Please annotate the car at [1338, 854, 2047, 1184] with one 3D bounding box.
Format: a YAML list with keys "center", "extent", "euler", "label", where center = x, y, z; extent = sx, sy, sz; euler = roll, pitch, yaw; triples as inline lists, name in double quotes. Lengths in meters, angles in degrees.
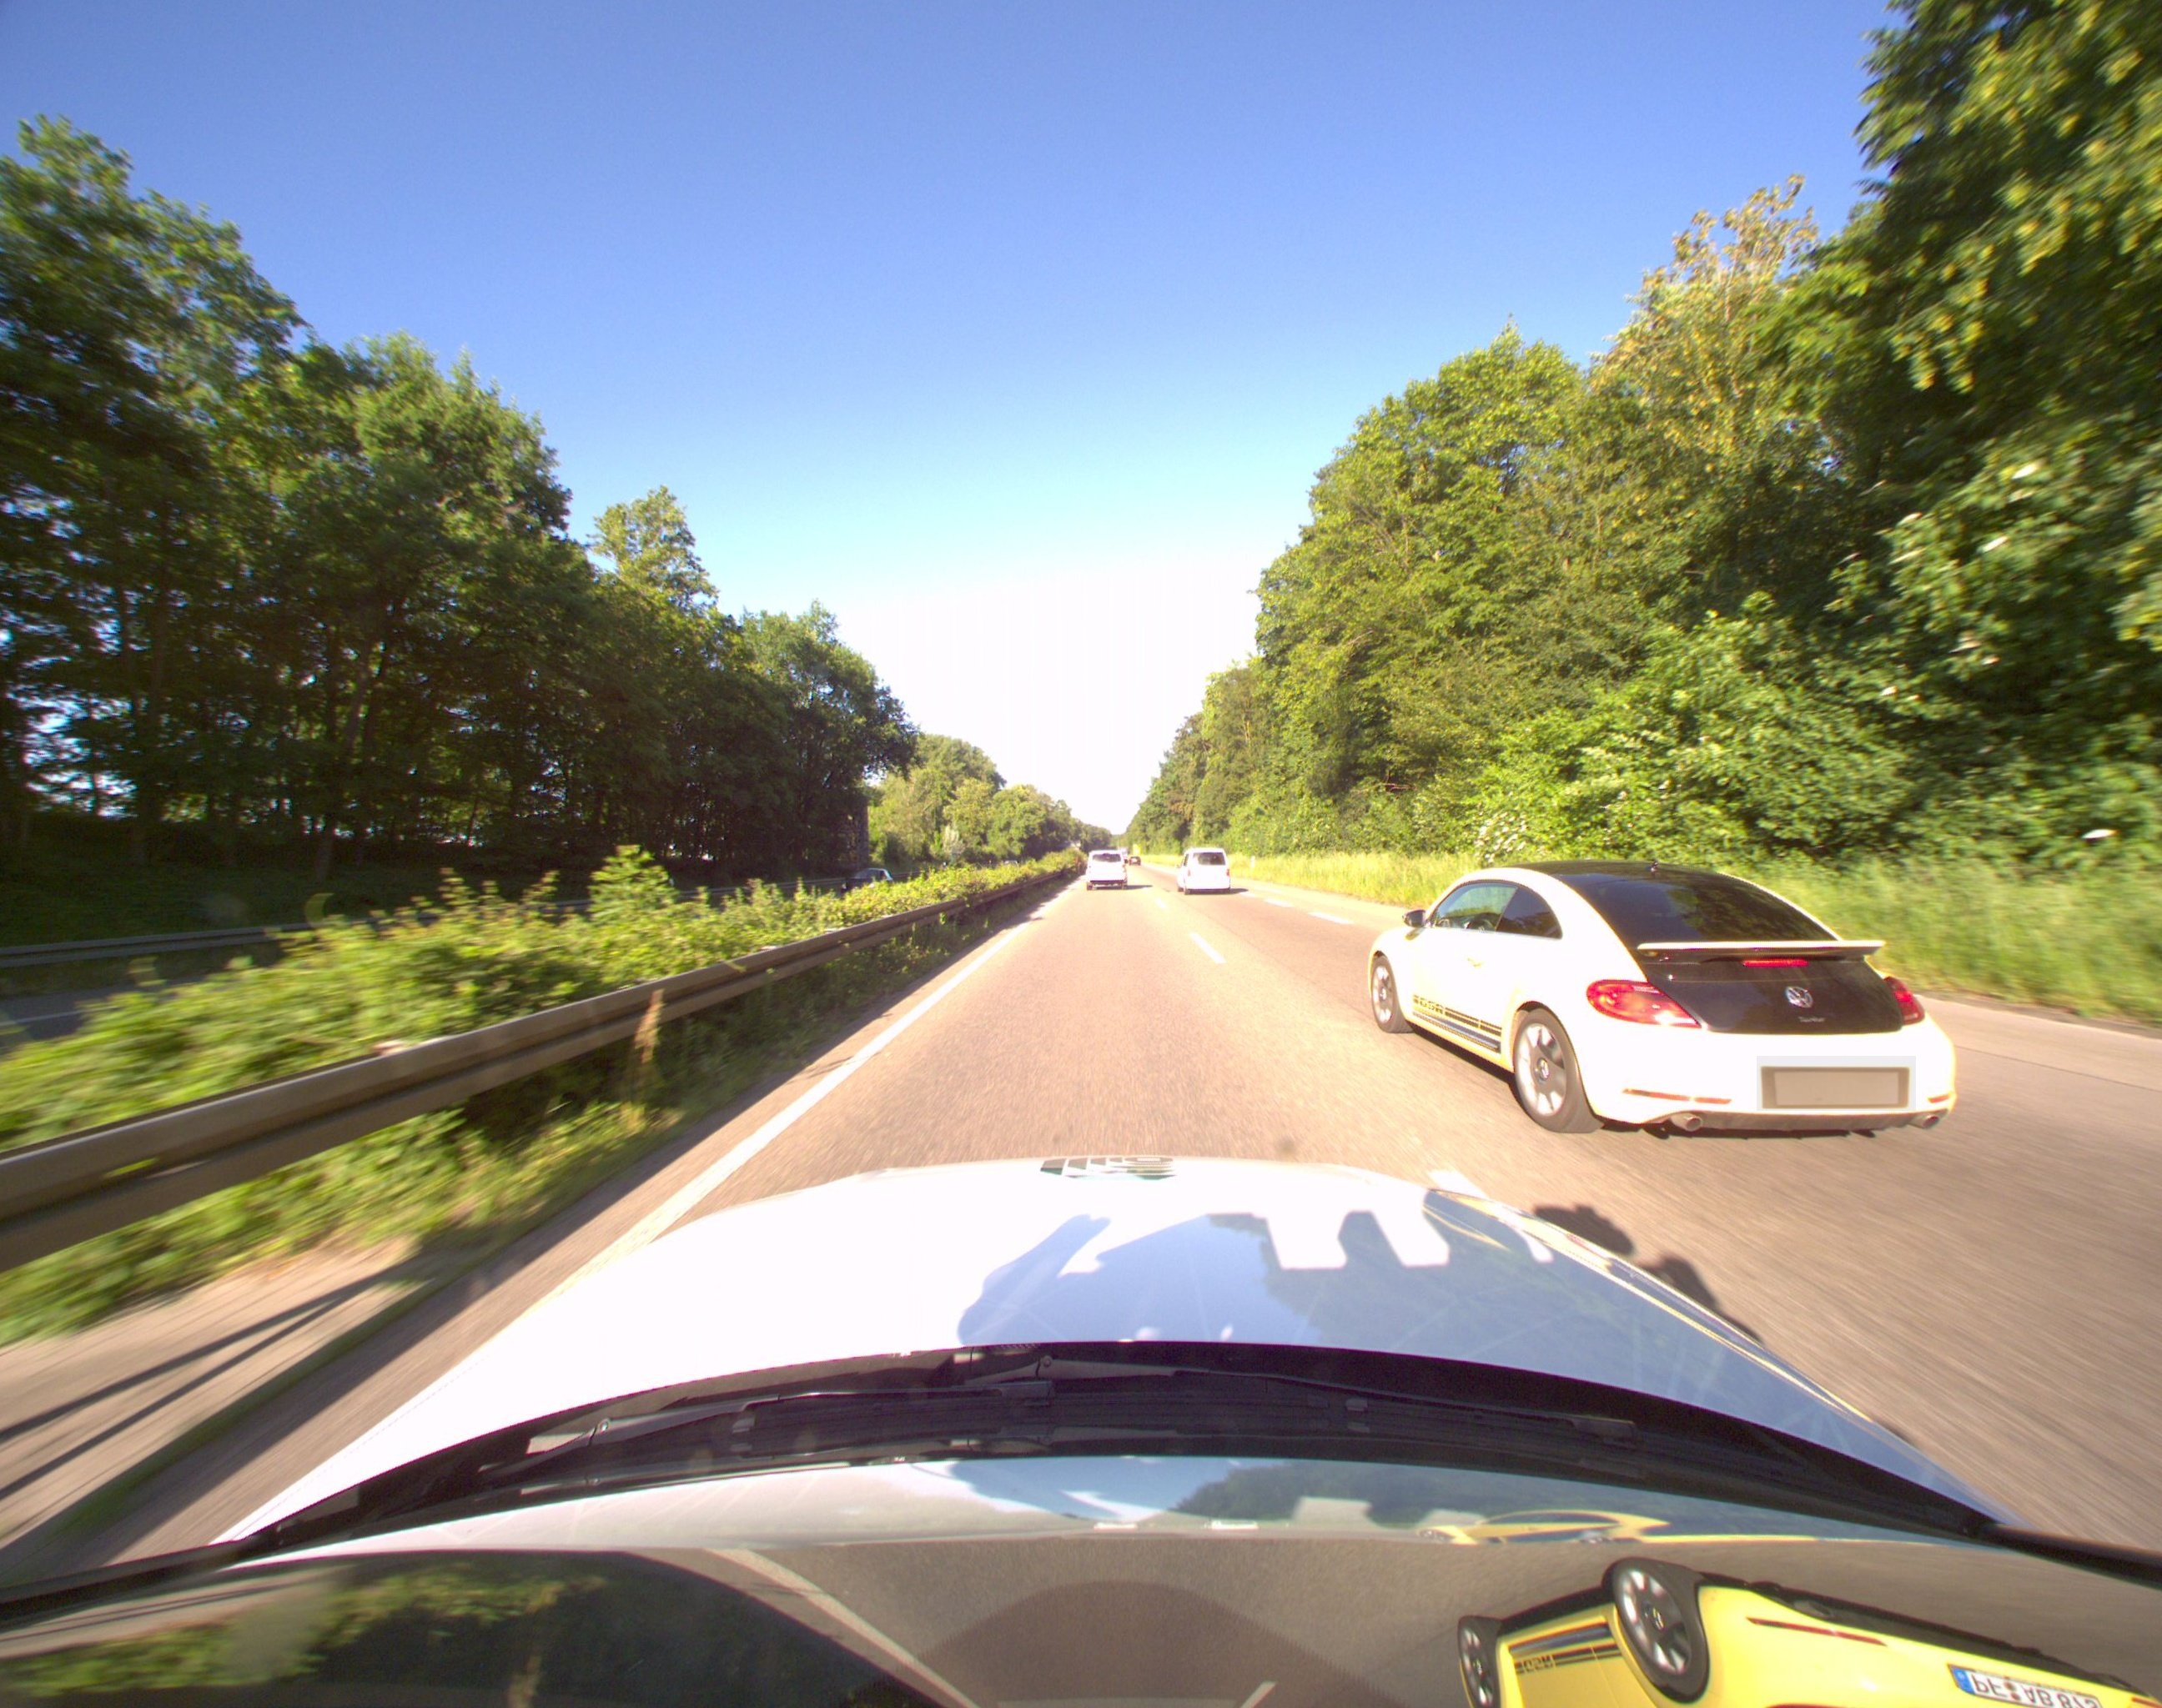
- center: [3.466, 0.758, 5.880]
  extent: [1.873, 1.461, 4.356]
  euler: [-1, 0, 1]
  label: "car"

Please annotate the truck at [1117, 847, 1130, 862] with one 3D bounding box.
- center: [12.719, 0.265, 242.681]
  extent: [3.483, 4.173, 8.865]
  euler: [-2, -1, 2]
  label: "truck"

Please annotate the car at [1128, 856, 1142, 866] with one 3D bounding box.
- center: [8.228, 1.067, 123.940]
  extent: [1.986, 1.398, 4.002]
  euler: [0, 0, 2]
  label: "car"

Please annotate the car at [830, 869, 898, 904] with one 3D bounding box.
- center: [-10.166, 1.501, 38.521]
  extent: [1.954, 1.450, 4.326]
  euler: [-1, 0, 1]
  label: "car"

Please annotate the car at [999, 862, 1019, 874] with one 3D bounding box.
- center: [-8.732, 1.686, 99.135]
  extent: [1.954, 1.450, 4.505]
  euler: [-1, 0, 0]
  label: "car"

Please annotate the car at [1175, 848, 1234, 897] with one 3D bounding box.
- center: [4.857, 0.700, 32.650]
  extent: [1.856, 1.770, 4.472]
  euler: [-1, 0, 2]
  label: "car"

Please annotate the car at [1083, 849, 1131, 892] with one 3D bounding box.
- center: [1.137, 0.717, 37.660]
  extent: [2.078, 1.828, 3.999]
  euler: [-1, 0, 0]
  label: "car"
